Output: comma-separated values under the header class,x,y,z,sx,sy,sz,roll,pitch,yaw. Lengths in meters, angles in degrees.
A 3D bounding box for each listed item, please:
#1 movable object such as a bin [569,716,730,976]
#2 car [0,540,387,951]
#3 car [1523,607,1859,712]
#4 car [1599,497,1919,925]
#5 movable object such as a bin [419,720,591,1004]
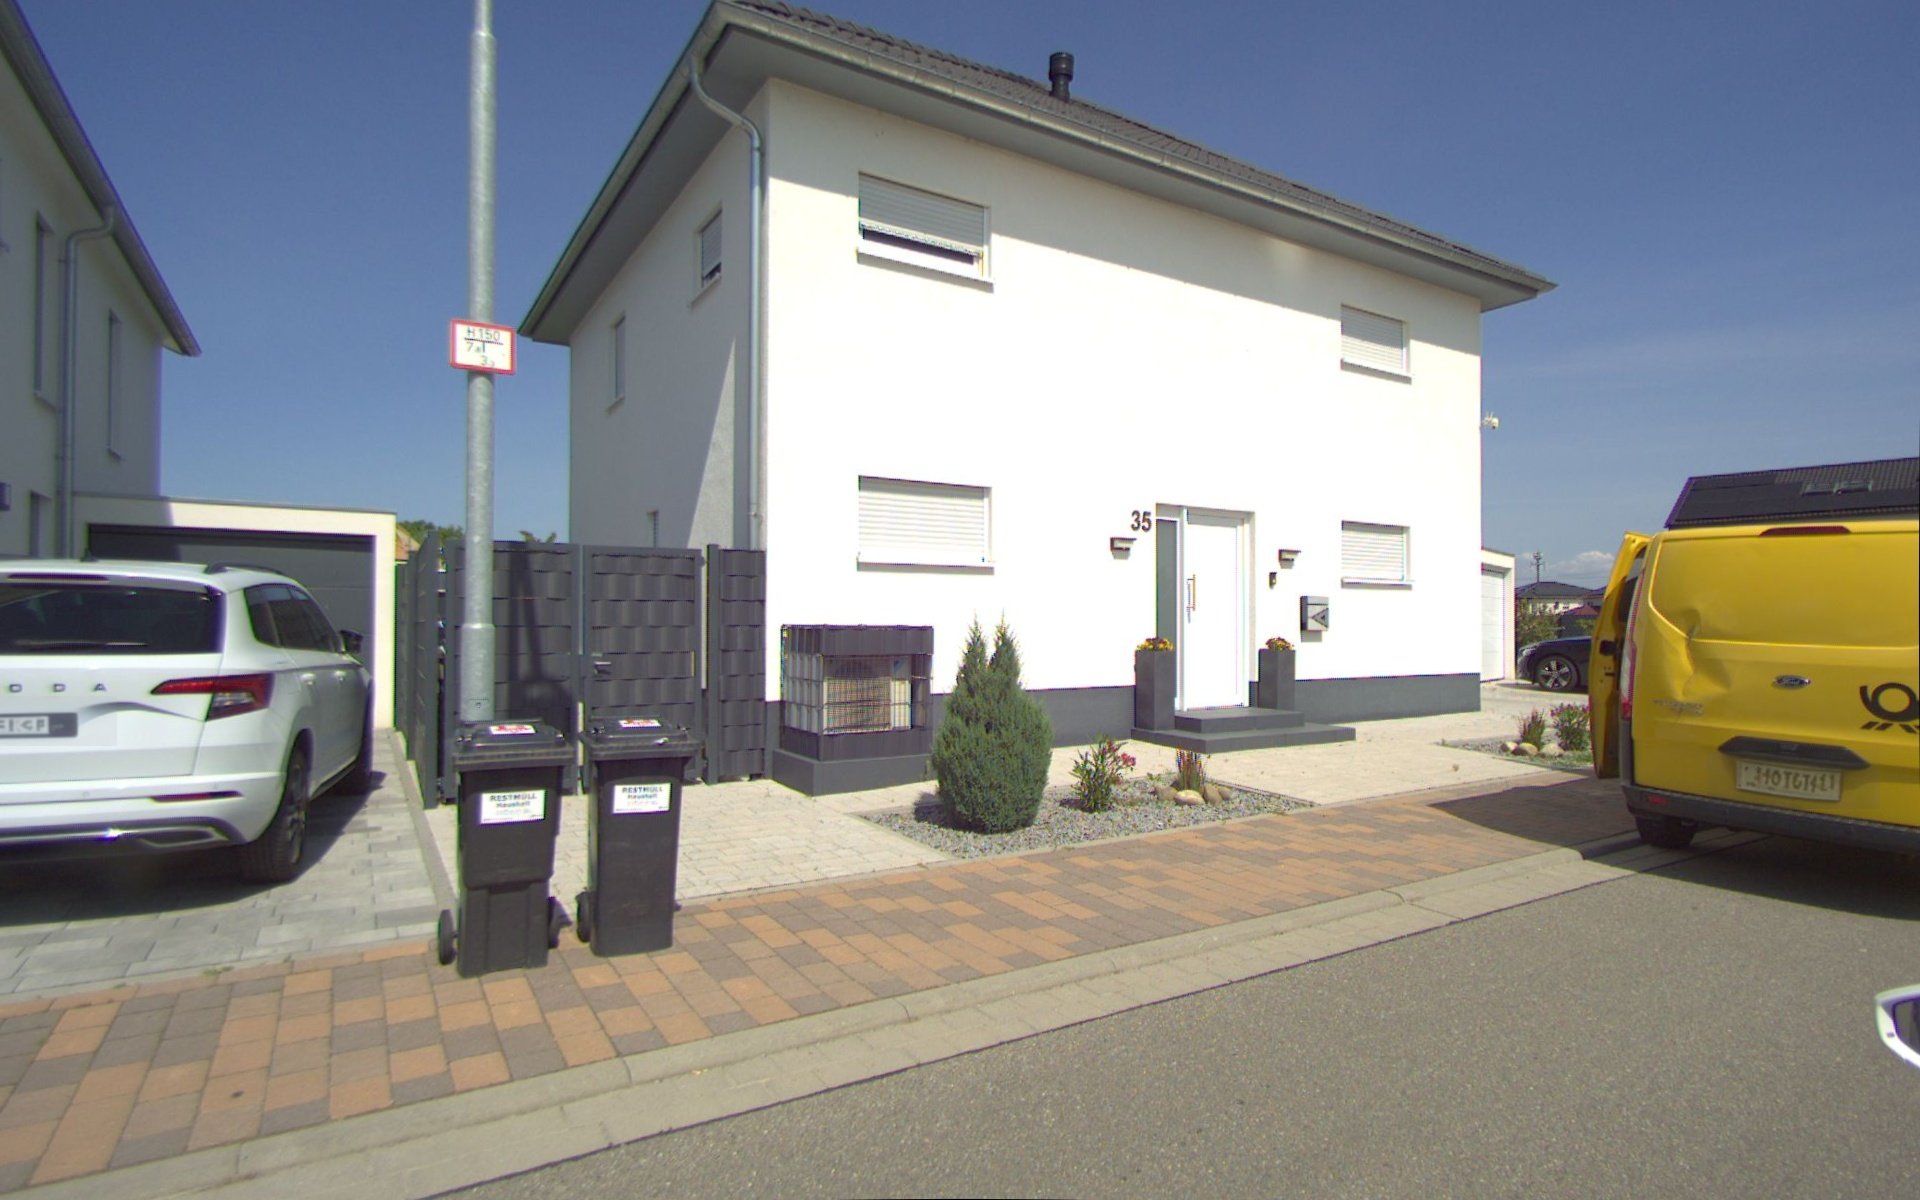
class,x,y,z,sx,sy,sz,roll,pitch,yaw
movable object such as a bin,-1.310,0.988,4.224,0.525,0.938,0.483,1,-1,-35
car,-4.585,0.589,5.842,1.769,1.641,3.944,1,-1,-24
car,12.079,0.896,16.813,1.738,1.471,4.348,1,0,-45
car,6.241,0.569,6.604,4.796,2.040,1.870,1,0,-37
movable object such as a bin,-1.776,0.971,3.914,0.525,0.938,0.483,1,-1,-35
